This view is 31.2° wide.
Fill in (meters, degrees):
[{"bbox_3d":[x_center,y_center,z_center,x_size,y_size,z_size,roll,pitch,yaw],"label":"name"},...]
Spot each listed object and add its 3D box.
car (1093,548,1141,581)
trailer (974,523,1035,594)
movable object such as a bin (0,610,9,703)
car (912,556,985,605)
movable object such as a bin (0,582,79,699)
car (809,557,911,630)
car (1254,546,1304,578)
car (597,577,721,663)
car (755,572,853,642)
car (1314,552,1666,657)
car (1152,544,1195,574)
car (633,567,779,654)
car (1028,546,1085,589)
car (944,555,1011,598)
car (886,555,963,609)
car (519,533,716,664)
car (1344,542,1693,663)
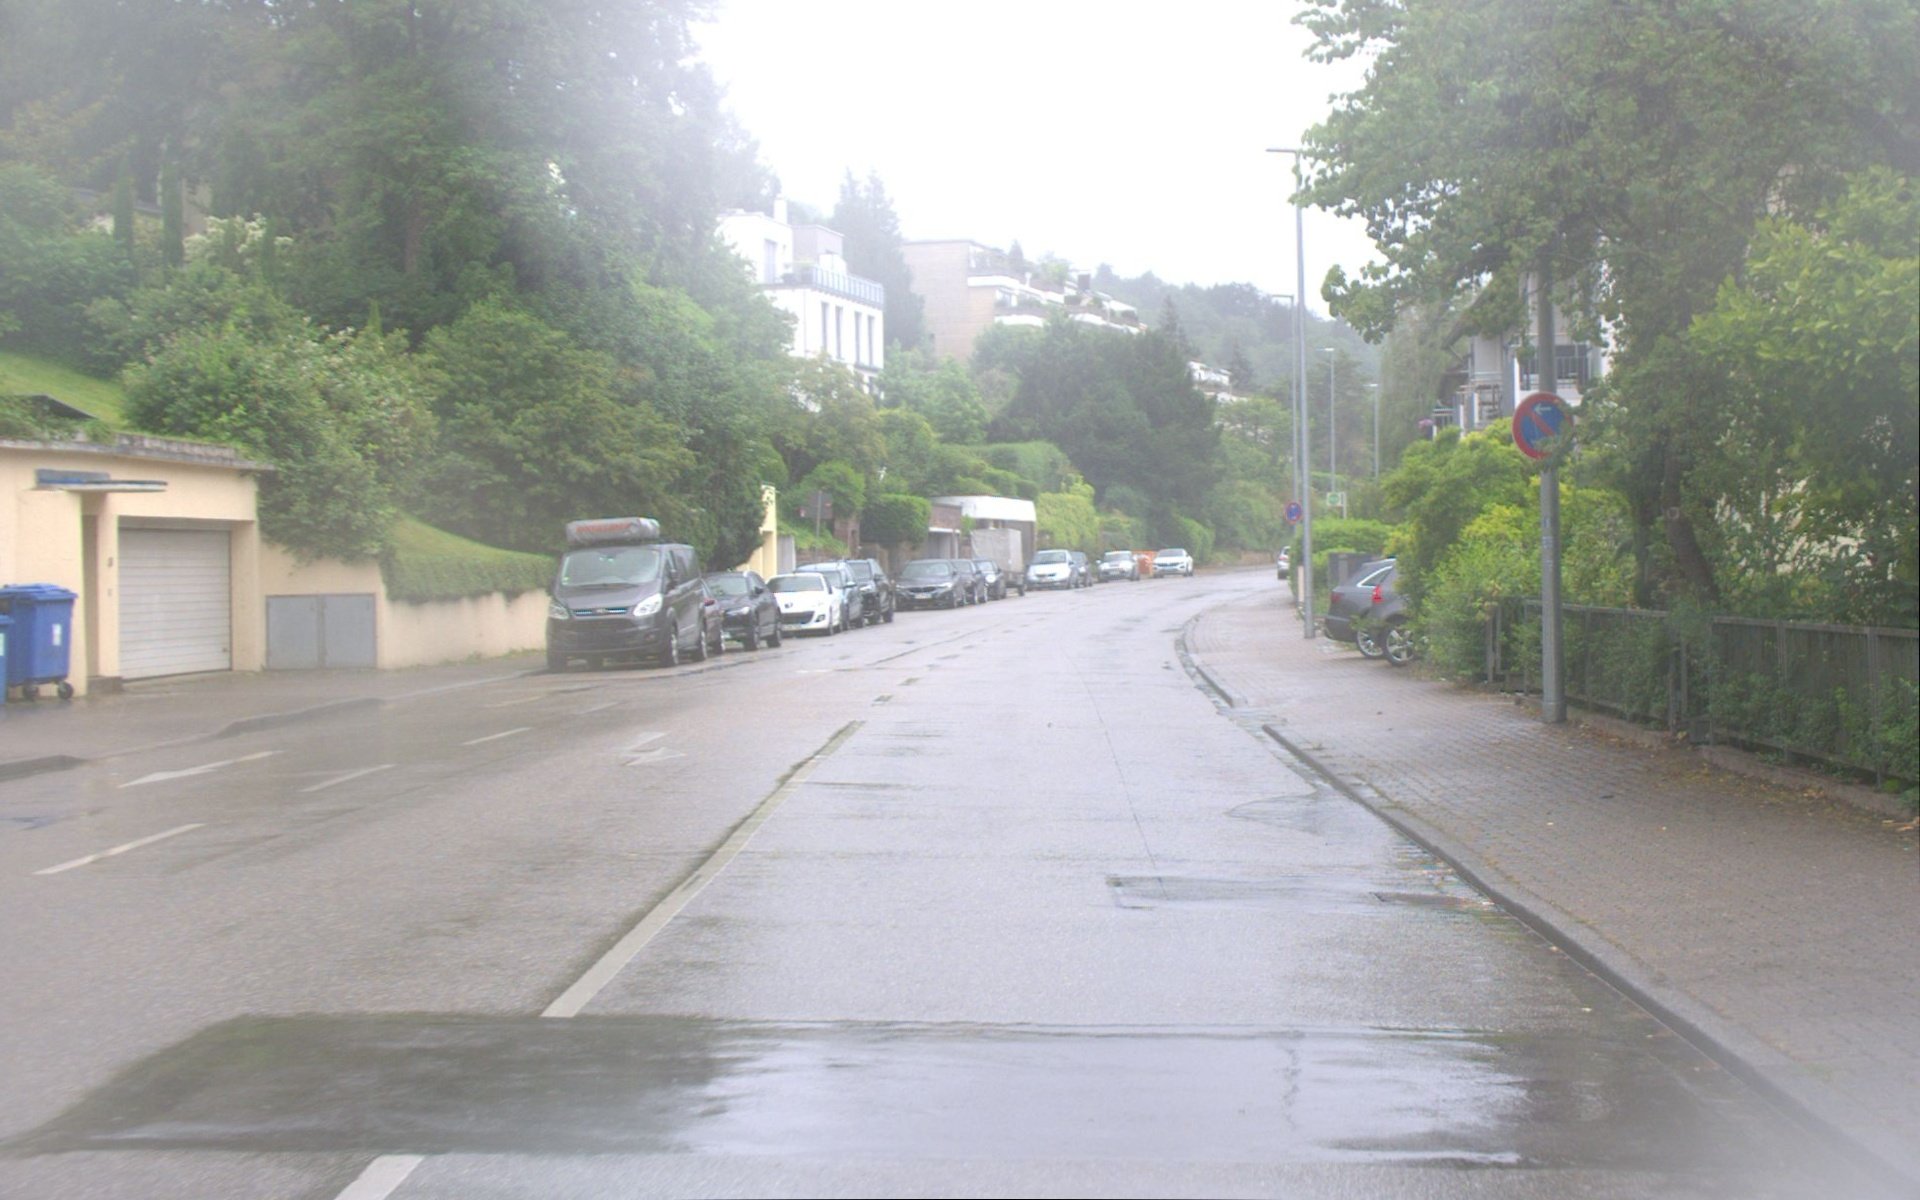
[{"bbox_3d":[7.257,-1.640,158.547,1.756,1.398,3.769,-3,0,8],"label":"car"},{"bbox_3d":[1.593,-1.481,122.055,1.537,2.391,3.071,-3,1,10],"label":"trailer"},{"bbox_3d":[-11.111,0.630,38.476,0.735,1.038,0.607,0,0,7],"label":"movable object such as a bin"},{"bbox_3d":[-0.340,-0.649,109.518,1.786,1.410,4.216,-2,1,7],"label":"car"},{"bbox_3d":[-10.851,0.458,39.768,0.820,1.310,1.402,0,1,6],"label":"movable object such as a bin"},{"bbox_3d":[-2.471,-0.190,86.289,1.874,1.620,4.592,-4,1,6],"label":"car"},{"bbox_3d":[14.650,-1.741,157.878,1.790,1.455,4.306,0,1,12],"label":"car"},{"bbox_3d":[-5.197,0.322,59.738,1.564,1.360,3.907,-3,0,3],"label":"car"},{"bbox_3d":[-3.430,0.136,76.156,1.716,1.361,4.083,-3,1,3],"label":"car"},{"bbox_3d":[7.218,0.063,46.985,4.377,1.360,1.915,0,0,37],"label":"car"},{"bbox_3d":[11.031,-2.116,177.338,1.756,1.492,4.218,-2,0,9],"label":"car"},{"bbox_3d":[-4.756,0.165,65.015,1.908,1.475,4.754,-4,0,5],"label":"car"},{"bbox_3d":[3.841,-1.304,136.066,1.756,1.534,3.755,-4,1,8],"label":"car"},{"bbox_3d":[0.602,-0.806,116.316,1.808,1.344,3.775,-2,1,7],"label":"car"},{"bbox_3d":[-1.057,-0.554,104.147,1.786,1.450,4.755,-3,1,5],"label":"car"},{"bbox_3d":[-5.348,-0.043,54.432,2.158,1.912,5.323,-2,0,4],"label":"car"},{"bbox_3d":[7.056,0.023,43.591,3.995,1.452,1.768,0,1,37],"label":"car"}]
